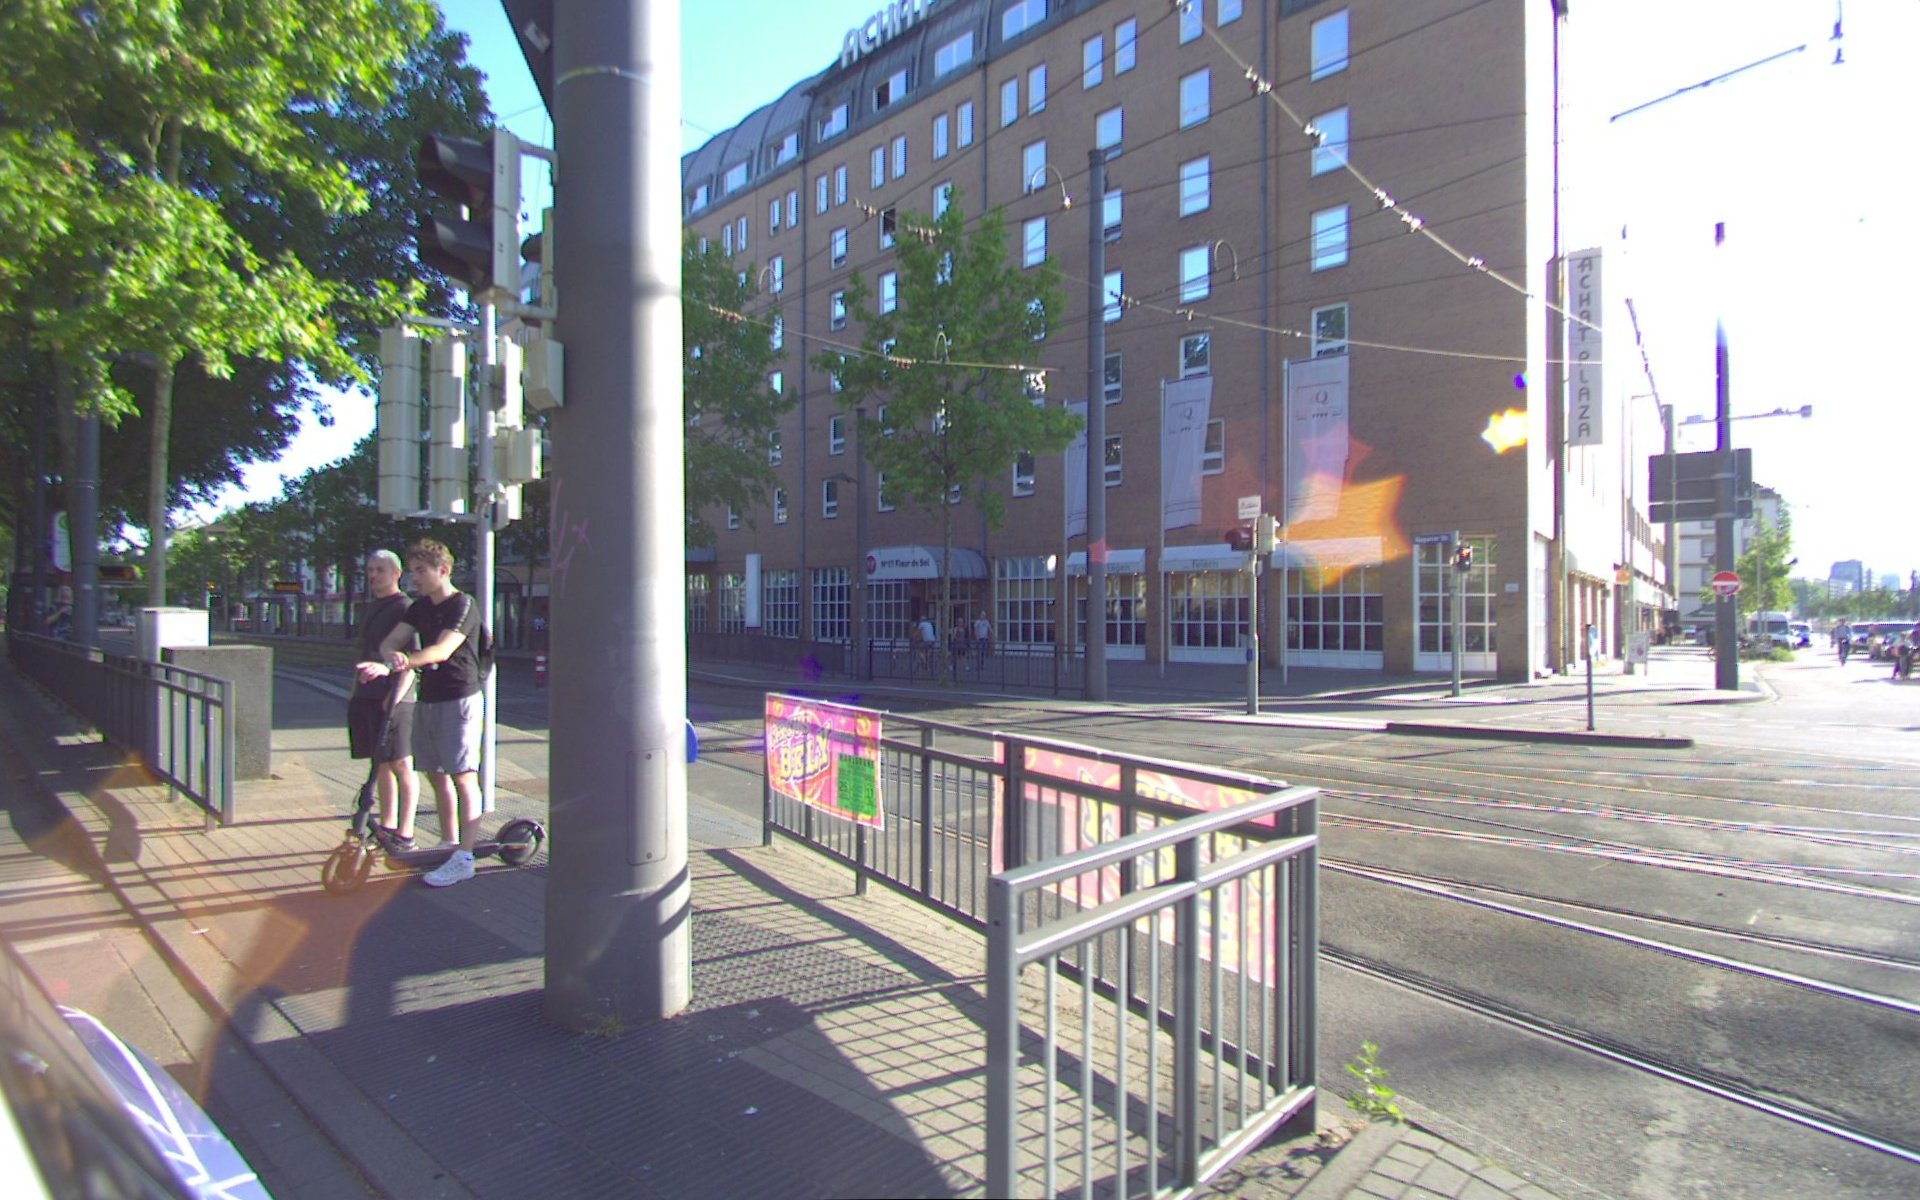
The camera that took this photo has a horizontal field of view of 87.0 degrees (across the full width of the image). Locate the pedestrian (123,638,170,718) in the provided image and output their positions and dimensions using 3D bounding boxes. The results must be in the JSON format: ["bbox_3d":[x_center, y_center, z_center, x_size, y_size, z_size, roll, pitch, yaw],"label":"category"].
[{"bbox_3d":[-10.850,1.026,13.498,0.378,1.040,0.401,-1,-2,39],"label":"pedestrian"}]

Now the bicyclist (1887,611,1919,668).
[{"bbox_3d":[30.154,1.245,32.224,0.816,1.800,0.806,-1,-2,36],"label":"bicyclist"}]

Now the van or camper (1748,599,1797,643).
[{"bbox_3d":[44.774,1.107,55.869,1.997,2.186,5.544,-1,0,38],"label":"van or camper"}]

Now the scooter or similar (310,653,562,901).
[{"bbox_3d":[-2.836,0.898,5.526,1.141,1.188,0.456,1,-2,-39],"label":"scooter or similar"}]

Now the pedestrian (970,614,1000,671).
[{"bbox_3d":[0.768,1.323,31.639,0.637,1.756,0.707,0,-1,-33],"label":"pedestrian"}]

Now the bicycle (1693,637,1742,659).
[{"bbox_3d":[35.845,2.272,47.896,0.630,0.988,1.734,1,-2,-34],"label":"bicycle"}]

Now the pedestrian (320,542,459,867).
[{"bbox_3d":[-3.436,0.592,6.091,0.561,1.810,0.673,2,-2,-44],"label":"pedestrian"}]

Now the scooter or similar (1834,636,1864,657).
[{"bbox_3d":[38.107,1.986,43.380,1.218,0.837,0.547,1,-2,-27],"label":"scooter or similar"}]

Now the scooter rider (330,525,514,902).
[{"bbox_3d":[-2.888,0.564,5.438,0.751,1.847,0.589,1,-2,-39],"label":"scooter rider"}]

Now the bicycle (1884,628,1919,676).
[{"bbox_3d":[30.208,1.631,32.208,0.931,1.453,2.077,-1,-2,36],"label":"bicycle"}]

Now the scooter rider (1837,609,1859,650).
[{"bbox_3d":[38.103,1.261,43.412,0.561,1.768,0.536,1,-2,-30],"label":"scooter rider"}]

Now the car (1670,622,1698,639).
[{"bbox_3d":[70.845,2.947,99.070,1.837,1.597,4.112,-1,-1,31],"label":"car"}]

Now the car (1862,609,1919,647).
[{"bbox_3d":[48.894,1.457,53.016,1.887,1.881,4.265,-1,-1,35],"label":"car"}]

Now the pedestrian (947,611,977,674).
[{"bbox_3d":[0.057,1.308,31.355,0.637,1.909,0.747,1,-2,-33],"label":"pedestrian"}]

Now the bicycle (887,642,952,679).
[{"bbox_3d":[-1.219,1.777,30.151,2.154,1.026,0.605,-1,-2,43],"label":"bicycle"}]
